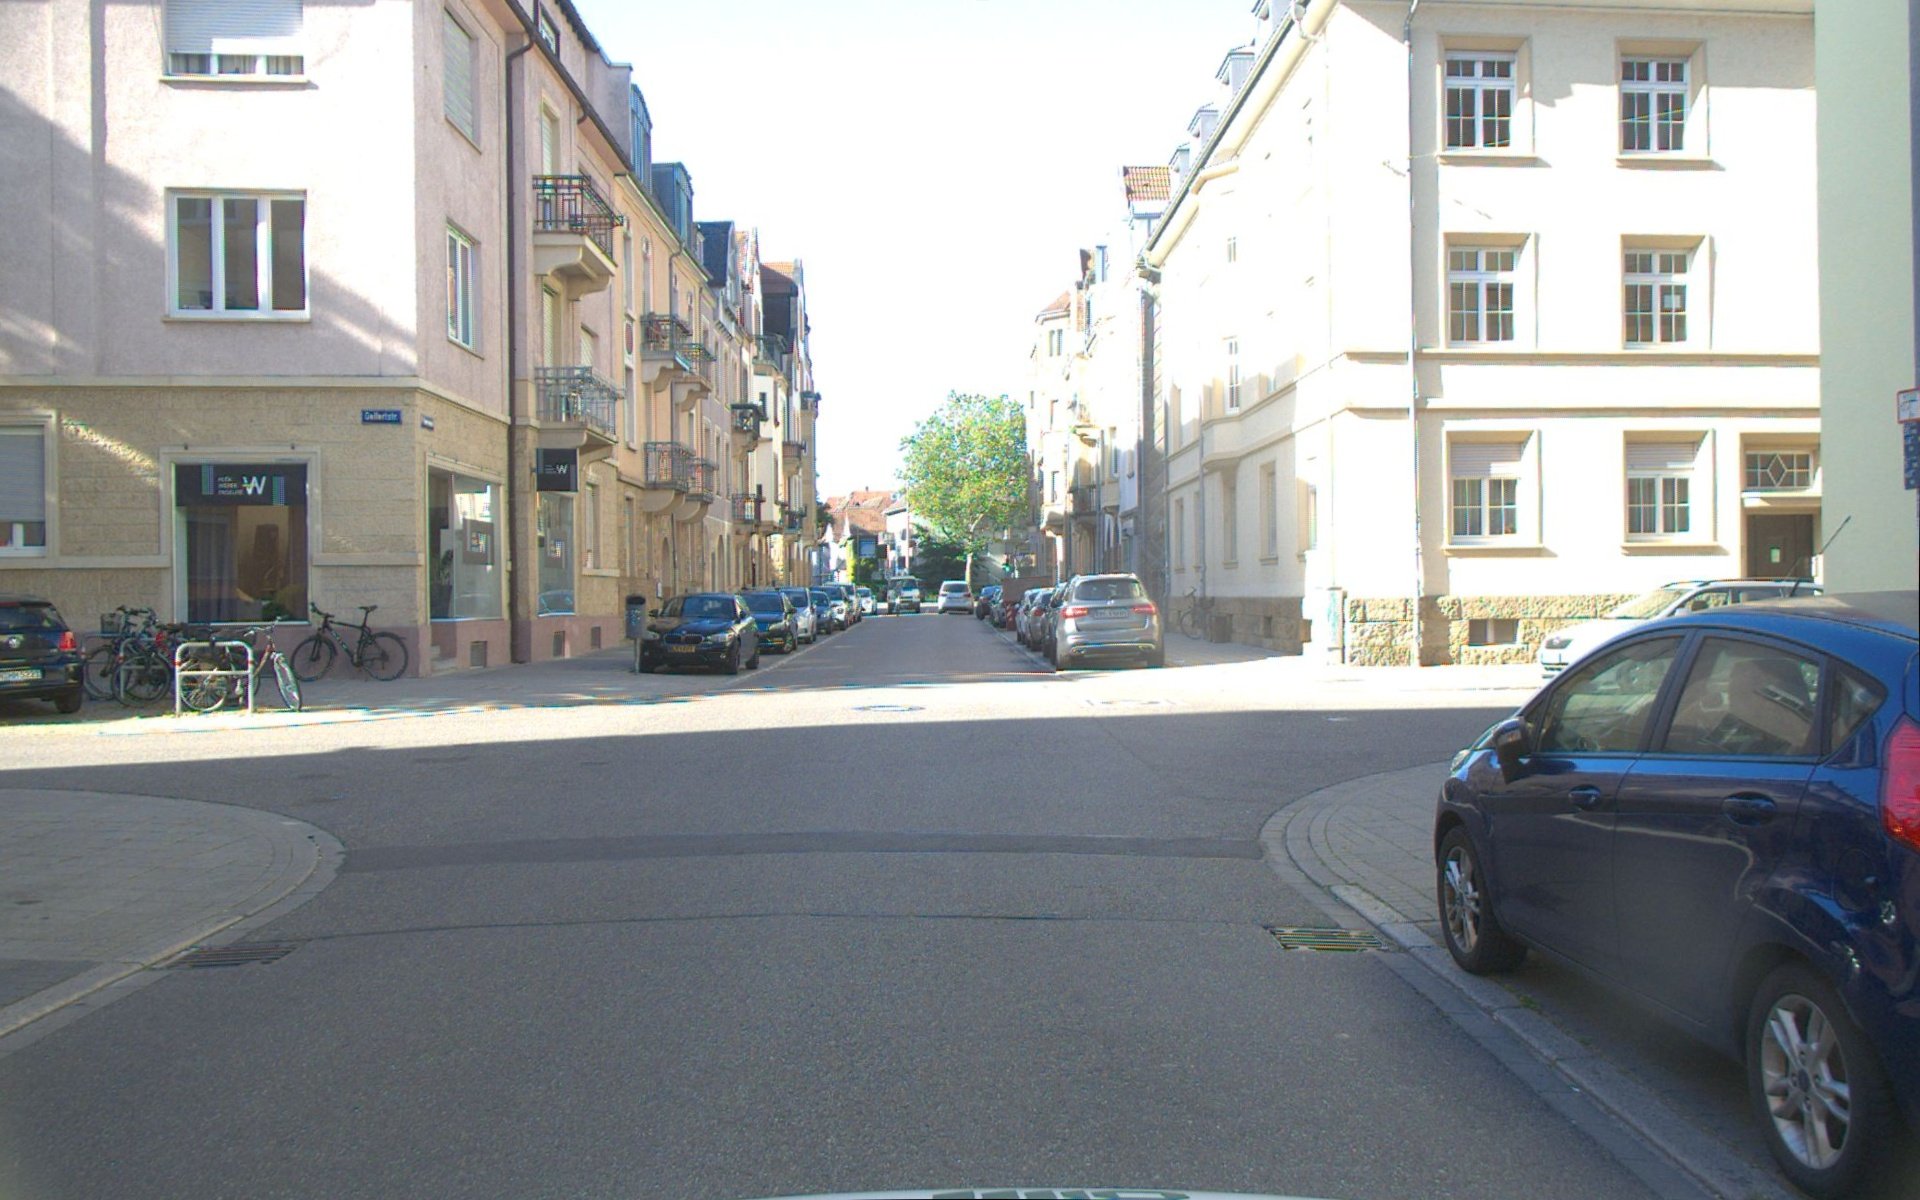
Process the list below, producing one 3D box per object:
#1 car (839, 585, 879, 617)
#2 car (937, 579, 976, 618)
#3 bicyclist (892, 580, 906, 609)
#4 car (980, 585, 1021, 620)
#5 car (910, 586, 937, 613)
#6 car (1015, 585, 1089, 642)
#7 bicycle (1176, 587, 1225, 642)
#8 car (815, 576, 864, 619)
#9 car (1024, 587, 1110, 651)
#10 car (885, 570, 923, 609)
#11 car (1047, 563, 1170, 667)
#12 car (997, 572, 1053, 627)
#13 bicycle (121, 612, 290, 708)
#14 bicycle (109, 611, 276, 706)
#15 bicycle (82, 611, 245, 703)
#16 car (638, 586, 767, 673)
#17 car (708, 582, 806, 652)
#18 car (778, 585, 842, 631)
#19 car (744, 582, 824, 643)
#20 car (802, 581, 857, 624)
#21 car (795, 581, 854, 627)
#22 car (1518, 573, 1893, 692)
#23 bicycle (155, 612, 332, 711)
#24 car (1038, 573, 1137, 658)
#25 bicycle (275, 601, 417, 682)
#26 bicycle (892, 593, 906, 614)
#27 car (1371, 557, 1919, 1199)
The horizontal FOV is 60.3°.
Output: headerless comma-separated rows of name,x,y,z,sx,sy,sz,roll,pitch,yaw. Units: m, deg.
car,-5.345,0.051,88.301,1.963,1.633,4.485,1,0,-2
car,-0.235,-0.077,87.804,1.963,1.947,4.486,1,0,-1
bicyclist,-3.061,-0.265,82.943,0.649,1.410,0.753,-2,0,-2
car,1.890,0.138,78.068,1.801,1.456,4.028,-2,-1,0
car,-2.827,-0.034,127.653,1.963,2.035,4.485,1,0,-2
car,2.541,0.389,46.455,1.801,1.456,4.028,-2,-1,0
bicycle,5.761,0.322,39.816,0.746,1.268,2.591,-1,0,-1
car,-5.284,-0.097,73.001,1.963,1.819,4.485,1,0,-2
car,2.609,0.483,41.063,1.801,1.456,4.028,-2,-1,0
car,-3.080,-0.556,91.095,1.963,2.035,4.485,1,0,-2
car,2.640,0.295,30.378,1.874,1.673,4.773,-2,-1,1
car,2.297,0.017,59.250,1.801,1.818,4.028,-1,-1,0
bicycle,-9.509,0.750,20.884,1.859,1.155,0.526,-1,2,0
bicycle,-9.905,0.750,21.377,1.860,1.155,0.526,-1,2,-4
bicycle,-10.559,0.749,21.971,1.860,1.155,0.526,-1,2,-4
car,-4.685,0.519,30.625,1.645,1.451,4.274,1,0,1
car,-4.965,0.410,41.001,1.963,1.610,4.485,1,0,-2
car,-5.171,0.278,57.650,1.939,1.508,4.326,1,0,-2
car,-5.094,0.361,48.357,1.963,1.647,4.485,1,0,-2
car,-5.298,0.126,67.524,1.963,1.647,4.485,1,0,-2
car,-5.059,0.153,62.231,1.963,1.647,4.485,1,0,-2
car,10.272,0.445,22.943,4.452,1.494,1.825,-1,-2,-8
bicycle,-8.713,0.744,20.147,1.859,1.155,0.648,0,2,0
car,2.647,0.345,35.000,1.710,1.636,4.028,-2,-1,0
bicycle,-9.124,0.604,24.636,1.863,1.155,0.647,0,2,-8
bicycle,-3.054,0.184,82.923,0.649,1.037,2.065,-2,0,-2
car,2.879,0.643,5.417,1.728,1.496,4.081,-3,1,-4
